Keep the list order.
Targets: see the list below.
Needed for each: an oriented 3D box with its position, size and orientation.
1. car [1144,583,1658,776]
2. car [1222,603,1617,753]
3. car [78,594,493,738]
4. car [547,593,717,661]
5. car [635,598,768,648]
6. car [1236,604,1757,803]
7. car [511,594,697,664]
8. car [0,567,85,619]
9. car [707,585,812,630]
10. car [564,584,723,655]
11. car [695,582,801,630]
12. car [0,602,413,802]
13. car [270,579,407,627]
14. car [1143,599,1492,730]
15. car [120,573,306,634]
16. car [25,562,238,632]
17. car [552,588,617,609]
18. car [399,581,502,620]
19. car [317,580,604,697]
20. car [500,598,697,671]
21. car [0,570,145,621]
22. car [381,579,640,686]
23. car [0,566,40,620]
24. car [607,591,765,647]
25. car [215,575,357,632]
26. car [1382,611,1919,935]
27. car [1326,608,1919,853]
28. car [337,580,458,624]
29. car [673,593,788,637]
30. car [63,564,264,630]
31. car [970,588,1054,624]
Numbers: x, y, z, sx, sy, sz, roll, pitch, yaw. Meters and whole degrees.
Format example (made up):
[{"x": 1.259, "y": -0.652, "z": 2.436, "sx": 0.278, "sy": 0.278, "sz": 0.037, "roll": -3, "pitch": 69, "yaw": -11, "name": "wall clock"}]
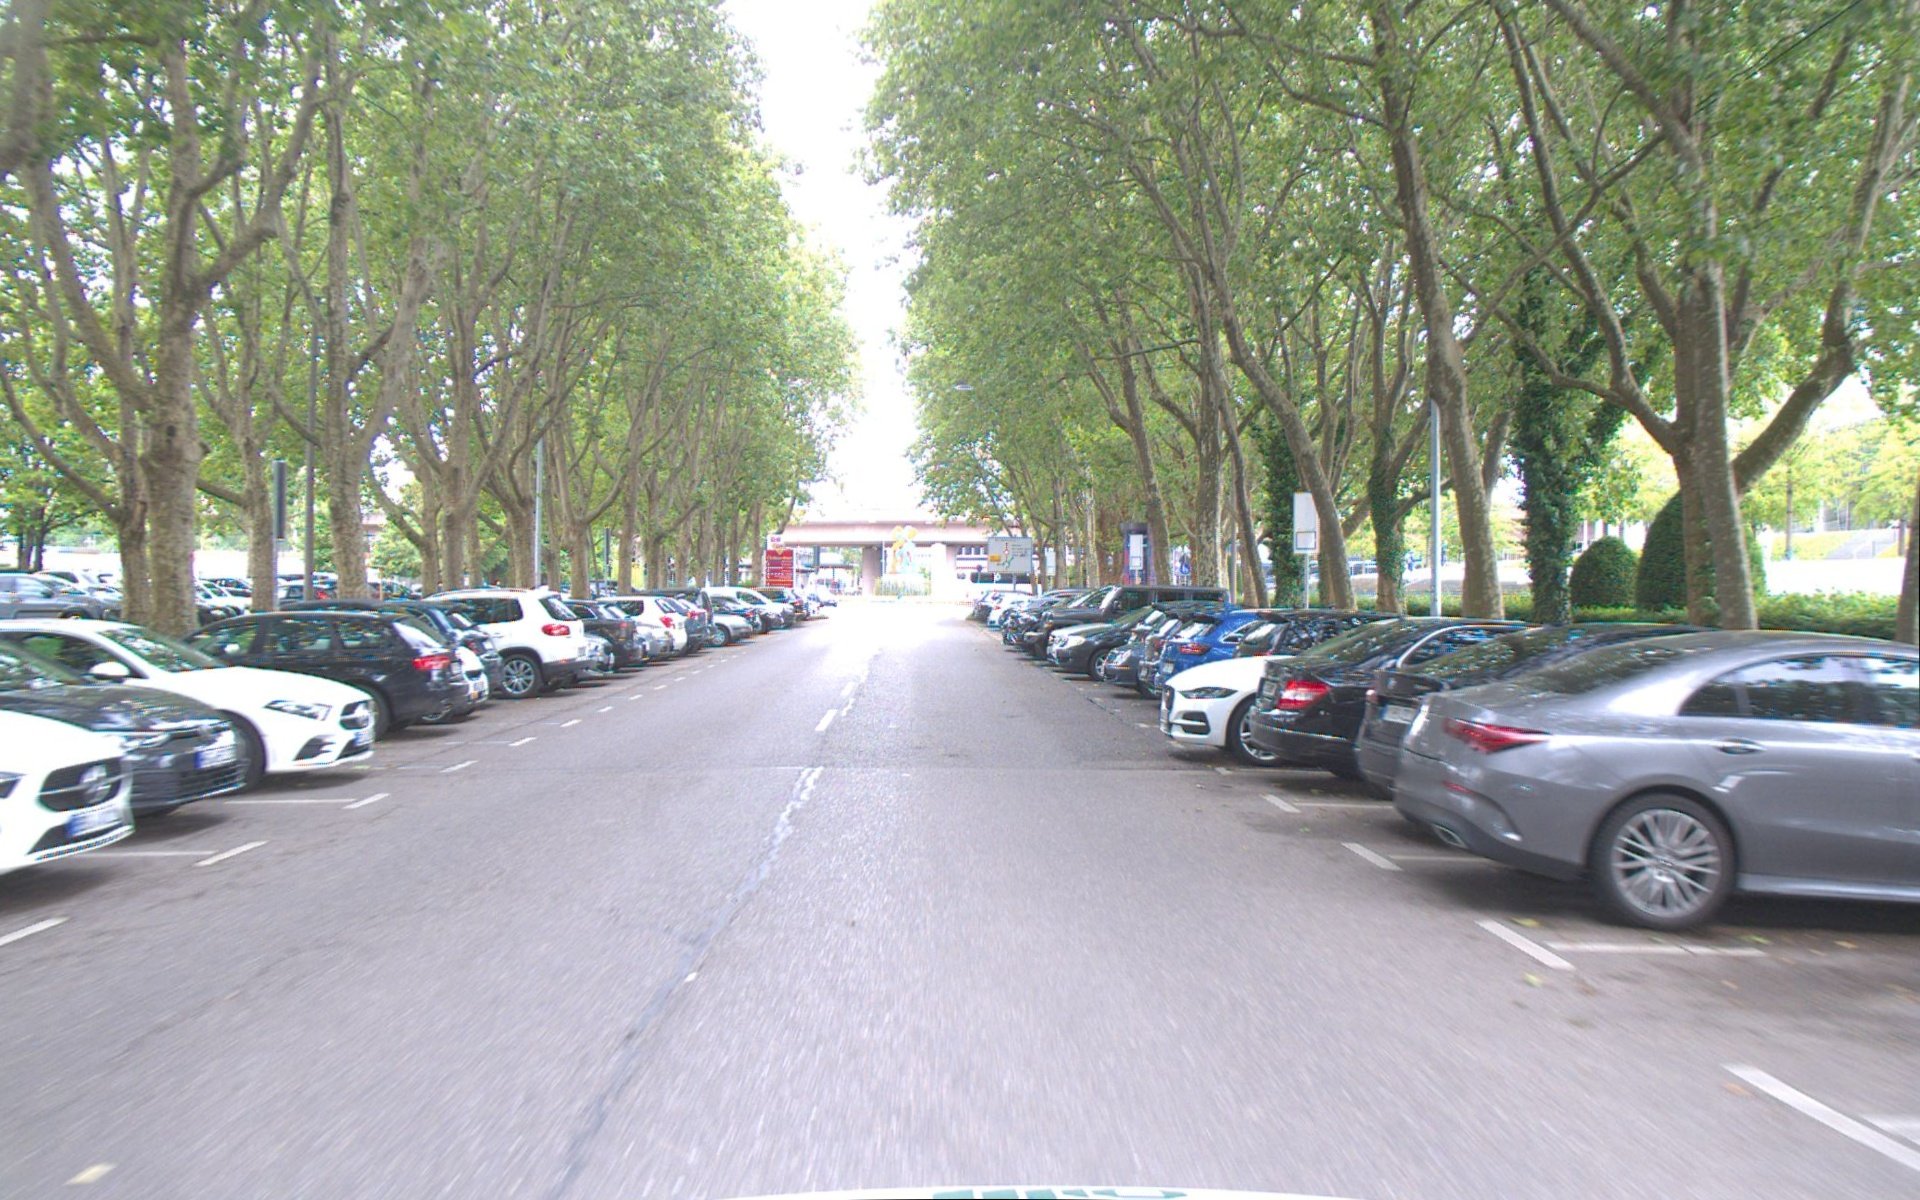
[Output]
[{"x": 4.151, "y": 0.718, "z": 16.149, "sx": 4.432, "sy": 1.651, "sz": 2.054, "roll": 1, "pitch": 1, "yaw": -1, "name": "car"}, {"x": 5.085, "y": 0.845, "z": 18.675, "sx": 3.934, "sy": 1.472, "sz": 1.784, "roll": 2, "pitch": 1, "yaw": -1, "name": "car"}, {"x": -7.540, "y": 0.721, "z": 18.785, "sx": 3.906, "sy": 1.478, "sz": 1.855, "roll": 1, "pitch": 0, "yaw": -1, "name": "car"}, {"x": -8.033, "y": 0.647, "z": 40.731, "sx": 3.852, "sy": 1.542, "sz": 1.727, "roll": -1, "pitch": 0, "yaw": -3, "name": "car"}, {"x": -7.945, "y": 0.700, "z": 51.094, "sx": 3.852, "sy": 1.422, "sz": 1.702, "roll": -1, "pitch": 0, "yaw": -3, "name": "car"}, {"x": 4.333, "y": 0.813, "z": 13.756, "sx": 3.752, "sy": 1.442, "sz": 1.718, "roll": 1, "pitch": 1, "yaw": -1, "name": "car"}, {"x": -8.303, "y": 0.669, "z": 38.780, "sx": 3.910, "sy": 1.511, "sz": 1.704, "roll": -1, "pitch": 0, "yaw": 3, "name": "car"}, {"x": -35.950, "y": -0.270, "z": 62.560, "sx": 4.482, "sy": 1.887, "sz": 2.297, "roll": 1, "pitch": 0, "yaw": 3, "name": "car"}, {"x": -8.535, "y": 0.305, "z": 70.702, "sx": 4.230, "sy": 1.826, "sz": 2.036, "roll": 1, "pitch": 0, "yaw": -2, "name": "car"}, {"x": -8.224, "y": 0.489, "z": 43.236, "sx": 3.852, "sy": 1.738, "sz": 1.751, "roll": -1, "pitch": 0, "yaw": -3, "name": "car"}, {"x": -8.749, "y": 0.239, "z": 68.600, "sx": 4.233, "sy": 1.841, "sz": 1.865, "roll": -2, "pitch": 0, "yaw": -5, "name": "car"}, {"x": -7.100, "y": 0.812, "z": 13.891, "sx": 4.320, "sy": 1.469, "sz": 2.046, "roll": -1, "pitch": 1, "yaw": -3, "name": "car"}, {"x": -24.170, "y": 0.105, "z": 64.498, "sx": 4.460, "sy": 1.756, "sz": 2.295, "roll": 1, "pitch": 0, "yaw": -3, "name": "car"}, {"x": 4.495, "y": 0.799, "z": 21.146, "sx": 3.939, "sy": 1.472, "sz": 1.911, "roll": 2, "pitch": 1, "yaw": -7, "name": "car"}, {"x": -23.373, "y": 0.095, "z": 51.923, "sx": 4.844, "sy": 1.828, "sz": 2.181, "roll": 0, "pitch": 0, "yaw": -4, "name": "car"}, {"x": -23.261, "y": -0.085, "z": 46.601, "sx": 4.844, "sy": 1.828, "sz": 2.181, "roll": 1, "pitch": 0, "yaw": -4, "name": "car"}, {"x": -24.960, "y": -0.105, "z": 110.045, "sx": 3.907, "sy": 1.347, "sz": 2.001, "roll": 1, "pitch": 0, "yaw": -2, "name": "car"}, {"x": -24.274, "y": 0.031, "z": 78.959, "sx": 4.234, "sy": 1.739, "sz": 2.131, "roll": 1, "pitch": 0, "yaw": -3, "name": "car"}, {"x": -7.766, "y": 0.587, "z": 25.980, "sx": 3.906, "sy": 1.711, "sz": 1.855, "roll": 1, "pitch": 0, "yaw": -1, "name": "car"}, {"x": -7.785, "y": 0.724, "z": 35.854, "sx": 3.914, "sy": 1.445, "sz": 1.702, "roll": -1, "pitch": 0, "yaw": -3, "name": "car"}, {"x": -34.918, "y": -0.162, "z": 65.107, "sx": 4.482, "sy": 1.887, "sz": 2.297, "roll": 1, "pitch": 0, "yaw": 3, "name": "car"}, {"x": -7.641, "y": 0.542, "z": 28.409, "sx": 3.906, "sy": 1.711, "sz": 1.855, "roll": 1, "pitch": 0, "yaw": -1, "name": "car"}, {"x": -36.186, "y": -0.286, "z": 59.849, "sx": 4.482, "sy": 1.887, "sz": 2.297, "roll": 1, "pitch": 0, "yaw": 3, "name": "car"}, {"x": -8.007, "y": 0.551, "z": 48.671, "sx": 4.374, "sy": 1.508, "sz": 1.702, "roll": -1, "pitch": 0, "yaw": -3, "name": "car"}, {"x": -24.088, "y": 0.128, "z": 59.237, "sx": 4.234, "sy": 1.893, "sz": 2.027, "roll": 1, "pitch": 0, "yaw": -3, "name": "car"}, {"x": 4.670, "y": 0.849, "z": 8.627, "sx": 4.492, "sy": 1.442, "sz": 1.719, "roll": 1, "pitch": 1, "yaw": 1, "name": "car"}, {"x": 4.722, "y": 0.840, "z": 11.259, "sx": 3.941, "sy": 1.442, "sz": 1.908, "roll": 1, "pitch": 1, "yaw": -7, "name": "car"}, {"x": -24.268, "y": 0.084, "z": 71.450, "sx": 4.428, "sy": 1.793, "sz": 2.295, "roll": 1, "pitch": 0, "yaw": -3, "name": "car"}, {"x": -8.391, "y": 0.532, "z": 60.772, "sx": 3.896, "sy": 1.445, "sz": 1.756, "roll": -2, "pitch": 0, "yaw": 1, "name": "car"}, {"x": -23.588, "y": -0.080, "z": 49.127, "sx": 4.844, "sy": 1.828, "sz": 2.181, "roll": 1, "pitch": 0, "yaw": -4, "name": "car"}, {"x": 2.682, "y": 0.303, "z": 86.268, "sx": 4.258, "sy": 1.662, "sz": 1.925, "roll": 2, "pitch": 1, "yaw": -1, "name": "car"}]
